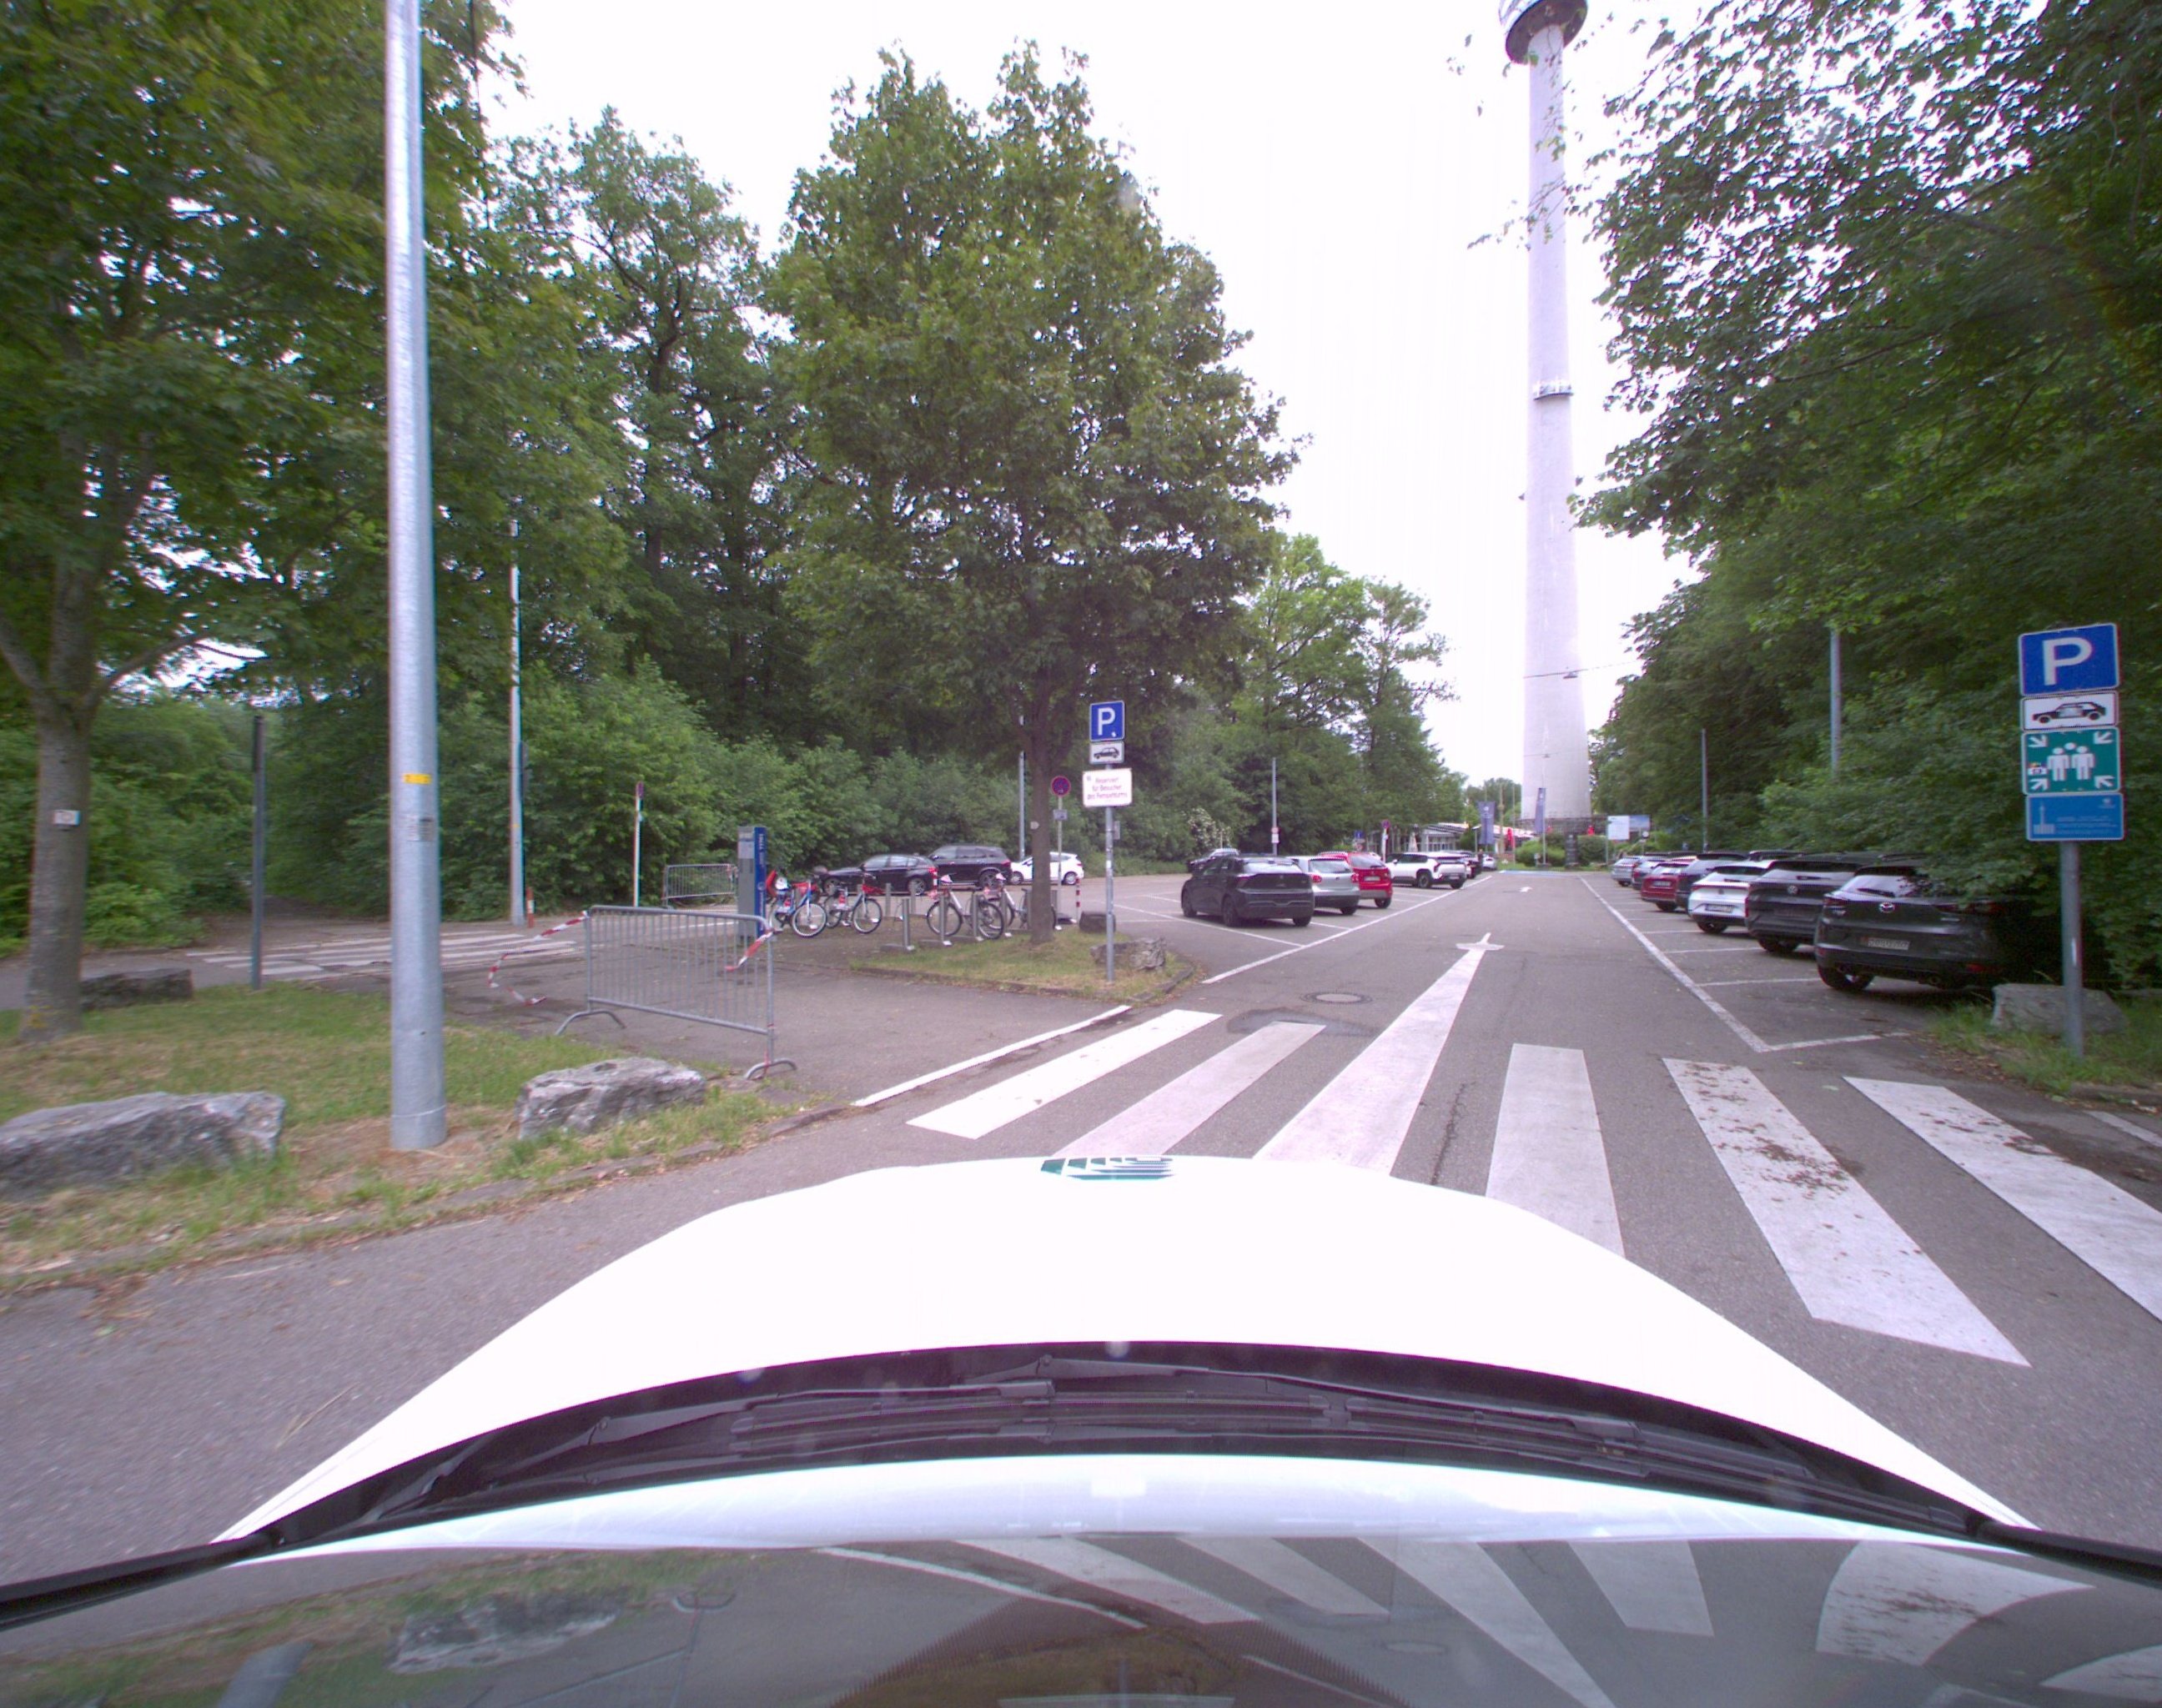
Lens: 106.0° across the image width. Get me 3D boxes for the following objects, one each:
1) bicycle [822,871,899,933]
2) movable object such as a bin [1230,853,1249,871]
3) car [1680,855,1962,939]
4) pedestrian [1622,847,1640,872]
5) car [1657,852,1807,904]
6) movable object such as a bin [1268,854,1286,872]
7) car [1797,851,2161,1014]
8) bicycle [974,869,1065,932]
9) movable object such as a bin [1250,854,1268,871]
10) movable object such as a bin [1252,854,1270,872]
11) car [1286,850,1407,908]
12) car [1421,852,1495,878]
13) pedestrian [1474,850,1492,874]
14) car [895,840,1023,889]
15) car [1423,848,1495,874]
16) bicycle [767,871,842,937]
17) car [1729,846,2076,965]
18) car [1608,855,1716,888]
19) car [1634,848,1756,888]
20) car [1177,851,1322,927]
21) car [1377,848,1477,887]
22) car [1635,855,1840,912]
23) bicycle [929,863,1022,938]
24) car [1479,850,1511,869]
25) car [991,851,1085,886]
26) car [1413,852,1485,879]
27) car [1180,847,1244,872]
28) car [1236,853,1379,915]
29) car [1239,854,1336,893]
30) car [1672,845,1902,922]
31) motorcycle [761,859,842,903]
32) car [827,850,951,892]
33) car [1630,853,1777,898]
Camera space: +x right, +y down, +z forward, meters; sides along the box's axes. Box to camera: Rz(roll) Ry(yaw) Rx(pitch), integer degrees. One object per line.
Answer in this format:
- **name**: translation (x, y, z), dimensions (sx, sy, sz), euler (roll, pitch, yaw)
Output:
- **bicycle**: translation (-4.234, 0.893, 15.610), dimensions (1.663, 1.111, 0.509), euler (0, 0, 37)
- **movable object such as a bin**: translation (12.197, 0.611, 62.596), dimensions (1.112, 1.425, 1.138), euler (0, 0, 35)
- **car**: translation (13.831, 0.741, 15.316), dimensions (4.107, 1.438, 1.863), euler (0, 0, -11)
- **pedestrian**: translation (38.361, 0.374, 56.834), dimensions (0.900, 1.725, 0.756), euler (0, 0, -34)
- **car**: translation (19.875, 0.705, 24.927), dimensions (3.573, 1.505, 1.728), euler (0, 0, -12)
- **movable object such as a bin**: translation (15.021, 0.677, 62.474), dimensions (1.164, 1.307, 1.314), euler (0, 0, 2)
- **car**: translation (10.031, 0.728, 8.778), dimensions (3.786, 1.492, 1.691), euler (0, 0, -15)
- **bicycle**: translation (-1.169, 0.843, 15.248), dimensions (1.766, 1.111, 0.486), euler (0, 0, 34)
- **movable object such as a bin**: translation (14.090, 0.688, 64.333), dimensions (1.113, 1.320, 1.247), euler (0, 0, 27)
- **movable object such as a bin**: translation (13.833, 0.688, 62.564), dimensions (1.119, 1.315, 1.185), euler (0, 0, 2)
- **car**: translation (7.790, 0.672, 24.215), dimensions (1.685, 1.585, 3.634), euler (0, 0, -16)
- **car**: translation (22.434, 0.612, 48.638), dimensions (1.757, 1.443, 4.256), euler (0, 0, -15)
- **pedestrian**: translation (28.600, 0.555, 57.923), dimensions (0.895, 1.725, 0.761), euler (0, 0, -12)
- **car**: translation (-4.705, 0.381, 31.190), dimensions (4.699, 1.767, 2.103), euler (0, 0, -14)
- **car**: translation (24.082, 0.437, 51.993), dimensions (1.827, 1.608, 4.366), euler (0, 0, -15)
- **bicycle**: translation (-5.048, 0.888, 14.823), dimensions (1.675, 1.111, 0.485), euler (0, 0, 39)
- **car**: translation (12.368, 0.684, 12.338), dimensions (4.198, 1.580, 1.947), euler (0, 0, -16)
- **car**: translation (26.785, 0.782, 37.601), dimensions (3.986, 1.467, 1.829), euler (0, 0, -10)
- **car**: translation (26.152, 0.554, 34.727), dimensions (4.254, 1.636, 1.956), euler (0, 0, -14)
- **car**: translation (3.661, 0.712, 18.491), dimensions (1.825, 1.523, 4.085), euler (0, 0, -11)
- **car**: translation (15.092, 0.540, 35.799), dimensions (1.844, 1.596, 4.167), euler (0, 0, -16)
- **car**: translation (17.340, 0.733, 21.590), dimensions (4.282, 1.414, 1.922), euler (0, 0, -10)
- **bicycle**: translation (-1.864, 0.787, 14.243), dimensions (1.664, 1.111, 0.486), euler (5, 2, 34)
- **car**: translation (31.883, 0.416, 62.678), dimensions (1.875, 1.428, 4.025), euler (0, 0, 32)
- **car**: translation (-1.975, 0.621, 36.819), dimensions (3.991, 1.510, 1.861), euler (0, 0, -14)
- **car**: translation (20.689, 0.618, 45.993), dimensions (1.769, 1.443, 3.829), euler (0, 0, -13)
- **car**: translation (9.143, 0.367, 57.040), dimensions (4.062, 1.685, 1.872), euler (0, 0, -13)
- **car**: translation (5.882, 0.715, 21.640), dimensions (1.875, 1.483, 3.978), euler (0, 0, -16)
- **car**: translation (8.155, 0.727, 32.572), dimensions (1.867, 1.442, 4.292), euler (0, 0, -16)
- **car**: translation (15.987, 0.627, 18.522), dimensions (4.107, 1.618, 1.835), euler (0, 0, -11)
- **motorcycle**: translation (-7.871, 0.747, 22.970), dimensions (2.018, 1.208, 0.730), euler (0, 0, -4)
- **car**: translation (-6.504, 0.558, 27.829), dimensions (3.991, 1.376, 1.732), euler (0, 0, -14)
- **car**: translation (21.285, 0.689, 27.901), dimensions (4.178, 1.457, 1.796), euler (0, 0, -14)
